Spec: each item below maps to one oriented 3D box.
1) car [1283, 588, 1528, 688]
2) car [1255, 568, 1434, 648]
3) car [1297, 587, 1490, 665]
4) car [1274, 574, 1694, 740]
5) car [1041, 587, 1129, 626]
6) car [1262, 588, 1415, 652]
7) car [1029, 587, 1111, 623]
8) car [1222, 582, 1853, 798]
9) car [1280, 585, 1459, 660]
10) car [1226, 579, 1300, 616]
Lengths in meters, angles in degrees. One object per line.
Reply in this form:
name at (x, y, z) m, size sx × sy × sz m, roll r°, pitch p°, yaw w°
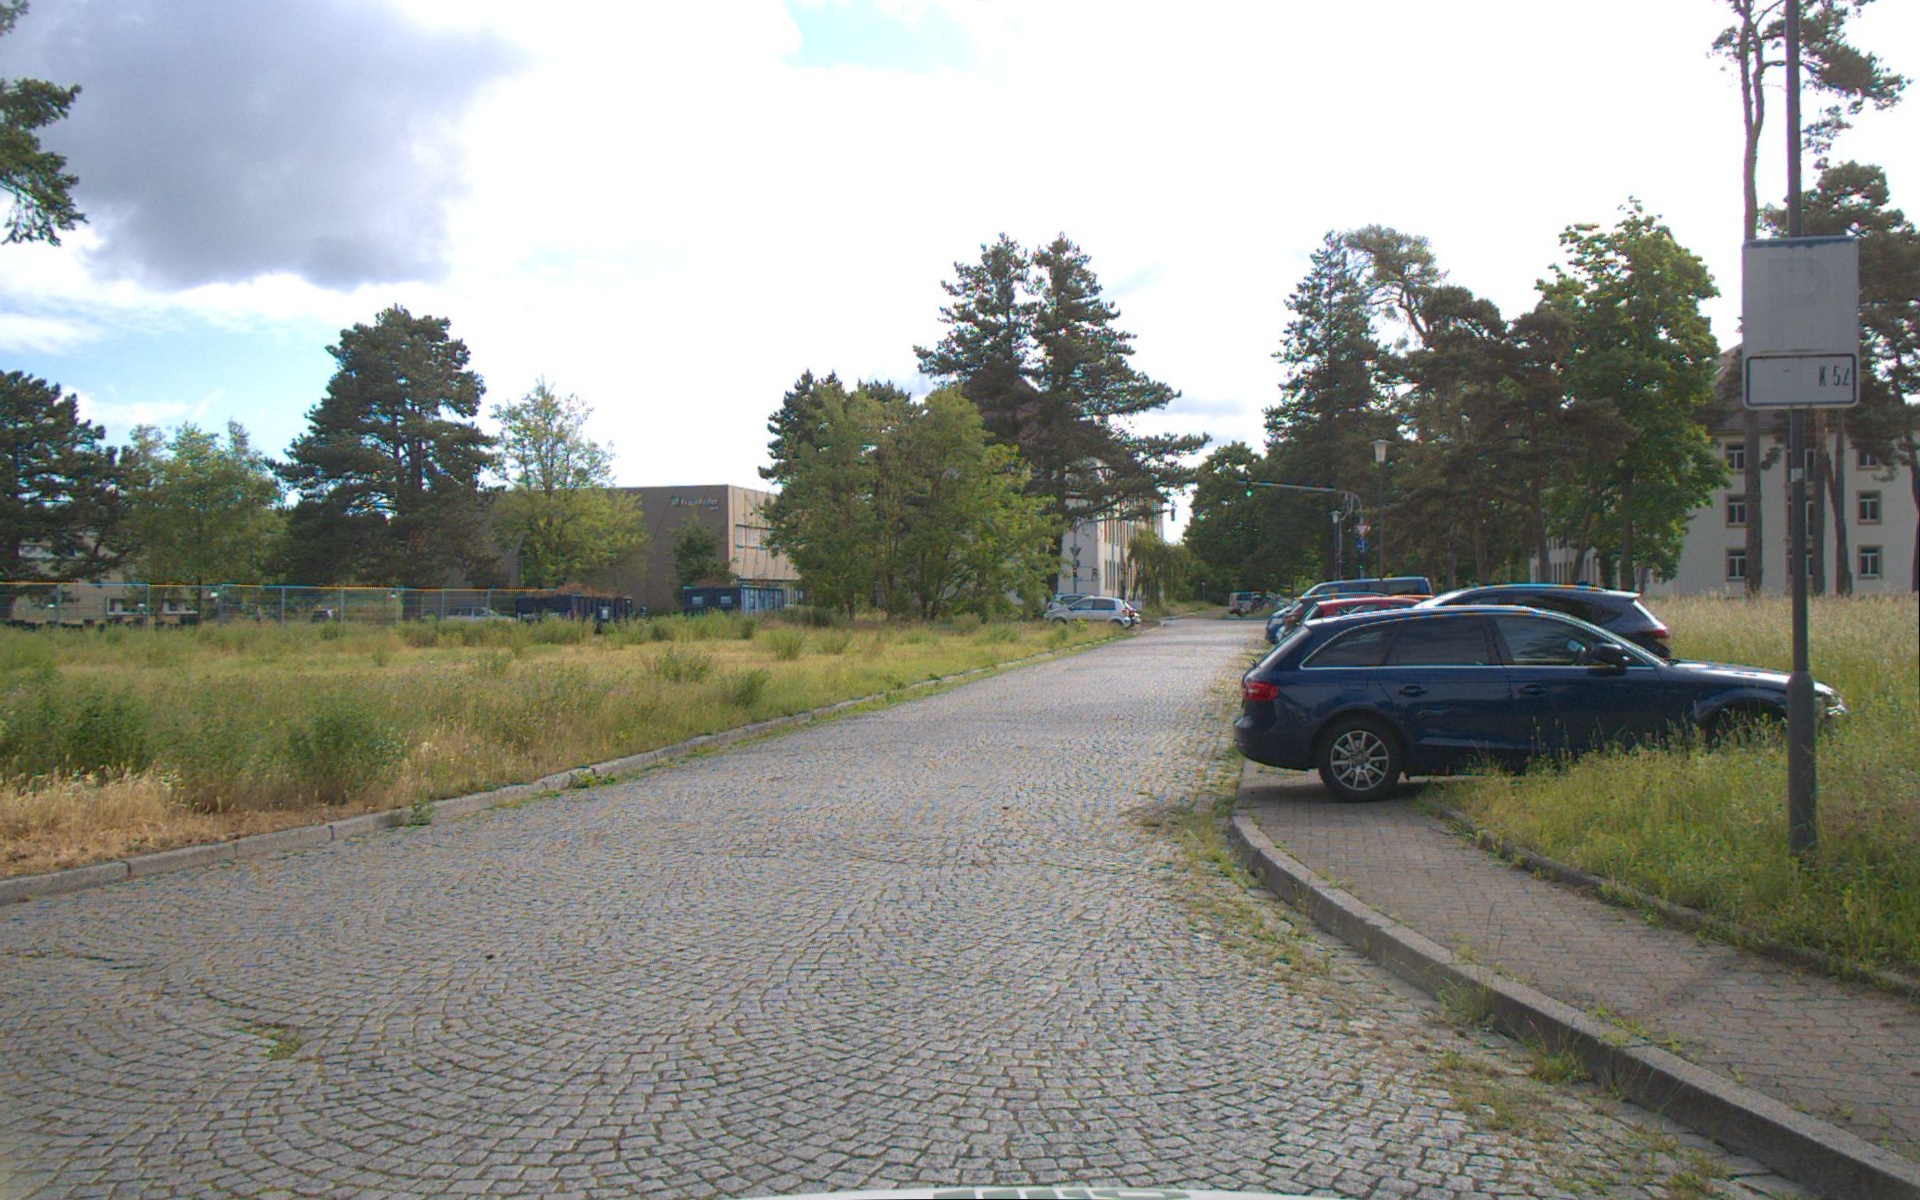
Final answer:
car at (7.393, 0.624, 27.758) m, size 3.801 × 1.504 × 1.673 m, roll -2°, pitch 0°, yaw 11°
car at (10.815, 0.202, 46.842) m, size 4.718 × 1.898 × 2.164 m, roll -4°, pitch 0°, yaw 9°
car at (9.206, 0.560, 35.405) m, size 3.856 × 1.547 × 1.709 m, roll -1°, pitch -1°, yaw 11°
car at (5.436, 0.583, 17.653) m, size 4.049 × 1.600 × 1.792 m, roll -1°, pitch 1°, yaw 10°
car at (5.399, 0.266, 71.089) m, size 3.640 × 1.462 × 1.628 m, roll -3°, pitch 1°, yaw 7°
car at (10.134, 0.531, 44.497) m, size 3.836 × 1.417 × 1.744 m, roll -4°, pitch 0°, yaw 10°
car at (5.086, 0.230, 76.538) m, size 3.642 × 1.462 × 1.627 m, roll -3°, pitch 0°, yaw 3°
car at (4.335, 0.691, 12.927) m, size 4.337 × 1.506 × 1.683 m, roll -2°, pitch 0°, yaw 15°
car at (9.331, 0.510, 37.973) m, size 3.822 × 1.631 × 1.822 m, roll -1°, pitch 0°, yaw 9°
car at (25.001, -0.225, 136.733) m, size 5.658 × 2.606 × 2.772 m, roll -4°, pitch 0°, yaw 6°
